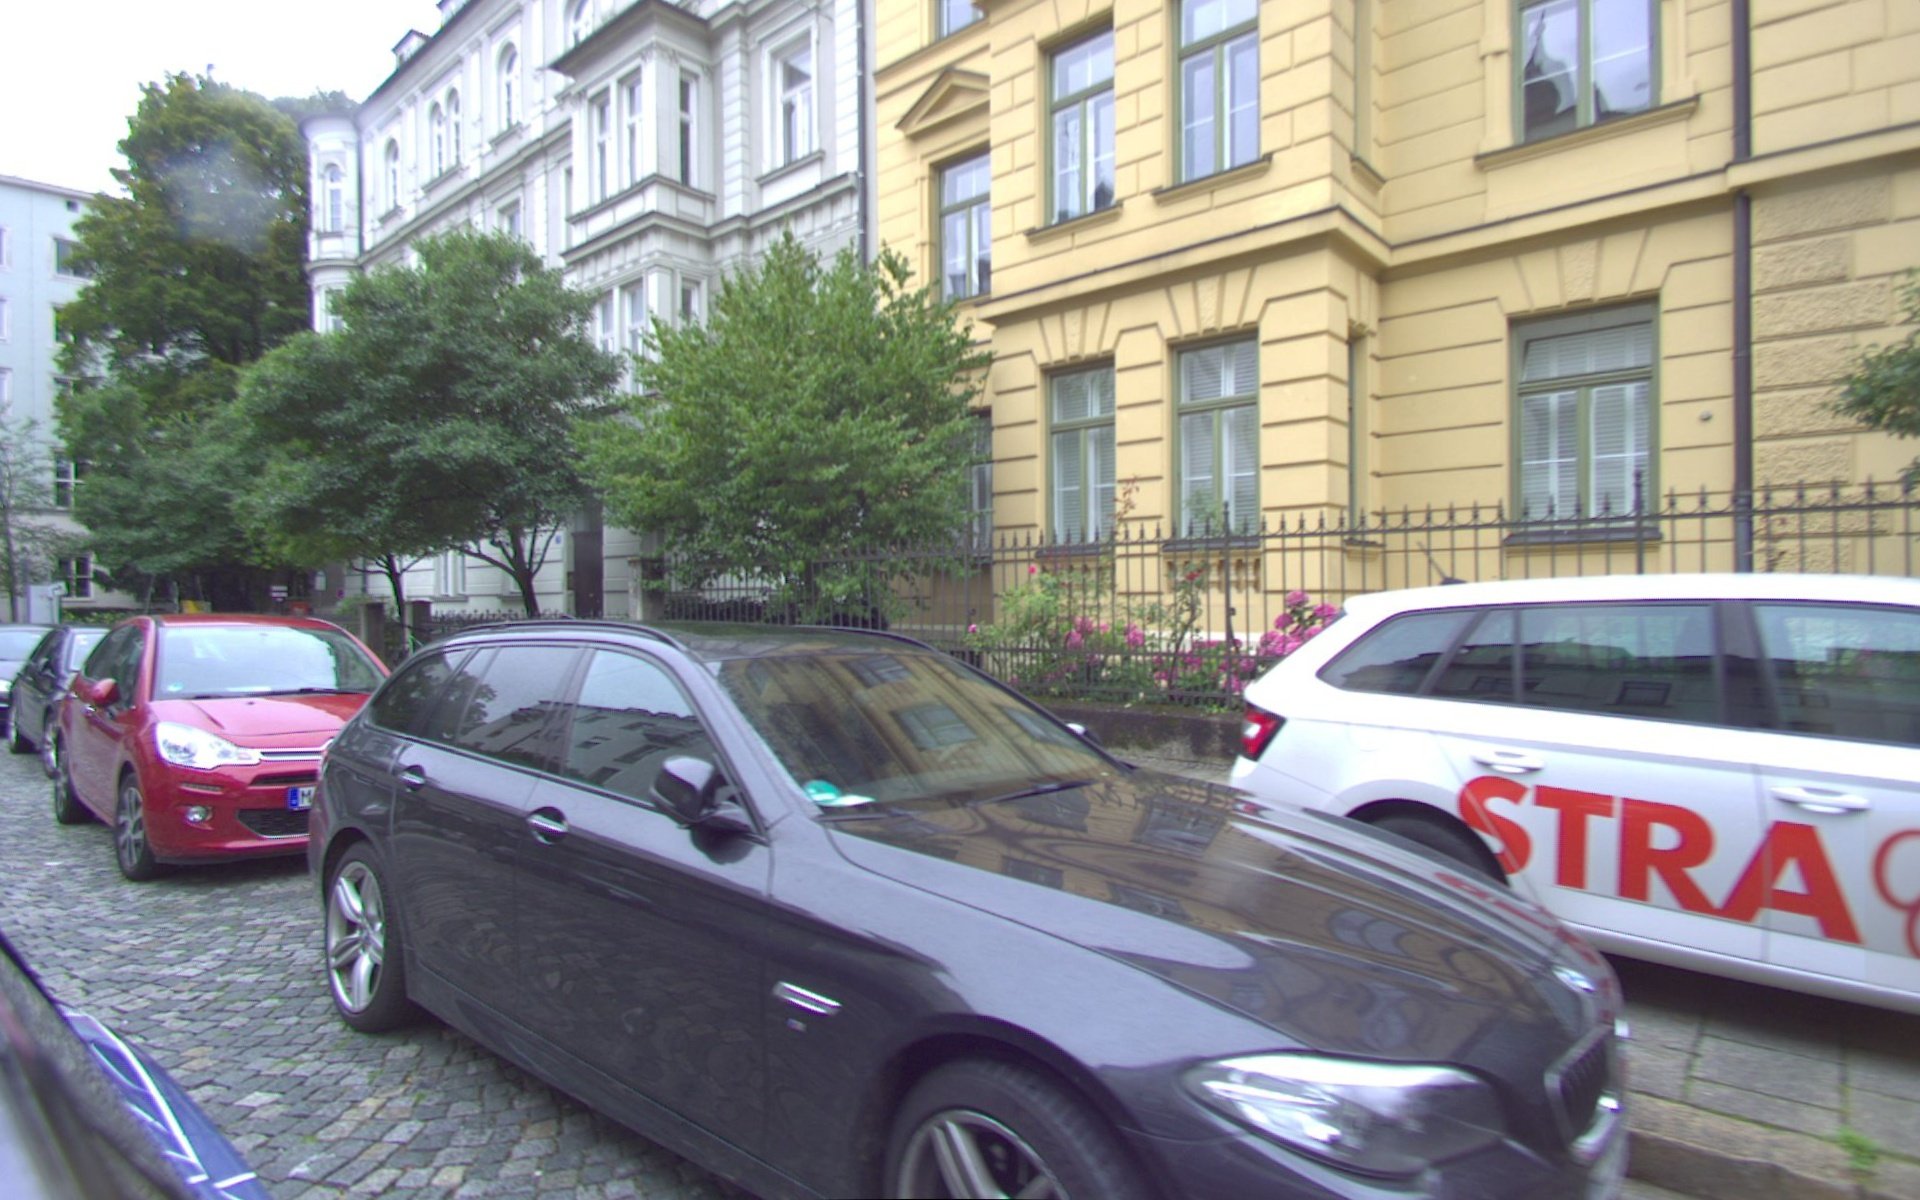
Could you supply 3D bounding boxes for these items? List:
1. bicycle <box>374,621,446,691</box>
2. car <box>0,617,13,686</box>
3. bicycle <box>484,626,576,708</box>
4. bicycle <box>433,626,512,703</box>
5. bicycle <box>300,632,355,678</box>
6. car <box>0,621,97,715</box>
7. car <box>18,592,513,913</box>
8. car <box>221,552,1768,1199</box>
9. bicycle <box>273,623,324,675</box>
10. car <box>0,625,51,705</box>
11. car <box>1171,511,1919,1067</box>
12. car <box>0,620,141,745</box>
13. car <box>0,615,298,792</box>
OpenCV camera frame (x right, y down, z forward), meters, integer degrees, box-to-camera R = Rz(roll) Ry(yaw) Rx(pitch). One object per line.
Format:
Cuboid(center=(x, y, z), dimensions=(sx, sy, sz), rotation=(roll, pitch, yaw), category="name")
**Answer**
Cuboid(center=(-9.805, 0.974, 18.014), dimensions=(1.789, 1.132, 0.504), rotation=(0, 3, 42), category="bicycle")
Cuboid(center=(-24.208, 1.211, 24.245), dimensions=(4.278, 1.594, 1.722), rotation=(-1, -2, 40), category="car")
Cuboid(center=(-6.234, 0.941, 14.631), dimensions=(1.759, 1.059, 0.468), rotation=(0, 3, 42), category="bicycle")
Cuboid(center=(-7.764, 0.995, 16.086), dimensions=(1.789, 1.107, 0.429), rotation=(0, 3, 42), category="bicycle")
Cuboid(center=(-13.203, 1.131, 21.107), dimensions=(1.789, 0.879, 0.434), rotation=(0, 3, 42), category="bicycle")
Cuboid(center=(-16.700, 1.119, 17.739), dimensions=(4.130, 1.510, 1.722), rotation=(-1, -2, 40), category="car")
Cuboid(center=(-5.033, 0.798, 7.104), dimensions=(4.189, 1.598, 1.822), rotation=(-1, -2, 40), category="car")
Cuboid(center=(-0.603, 0.739, 3.389), dimensions=(5.129, 1.481, 1.851), rotation=(-1, -2, 40), category="car")
Cuboid(center=(-14.561, 1.062, 22.275), dimensions=(1.694, 1.059, 0.458), rotation=(0, 3, 42), category="bicycle")
Cuboid(center=(-20.148, 1.281, 20.621), dimensions=(4.276, 1.510, 1.723), rotation=(-1, -2, 38), category="car")
Cuboid(center=(3.115, 0.479, 3.387), dimensions=(4.388, 1.477, 1.822), rotation=(-1, 1, 42), category="car")
Cuboid(center=(-13.012, 1.041, 14.203), dimensions=(4.511, 1.510, 1.790), rotation=(-1, -2, 44), category="car")
Cuboid(center=(-9.007, 0.960, 10.977), dimensions=(4.640, 1.521, 1.799), rotation=(0, -3, 41), category="car")
